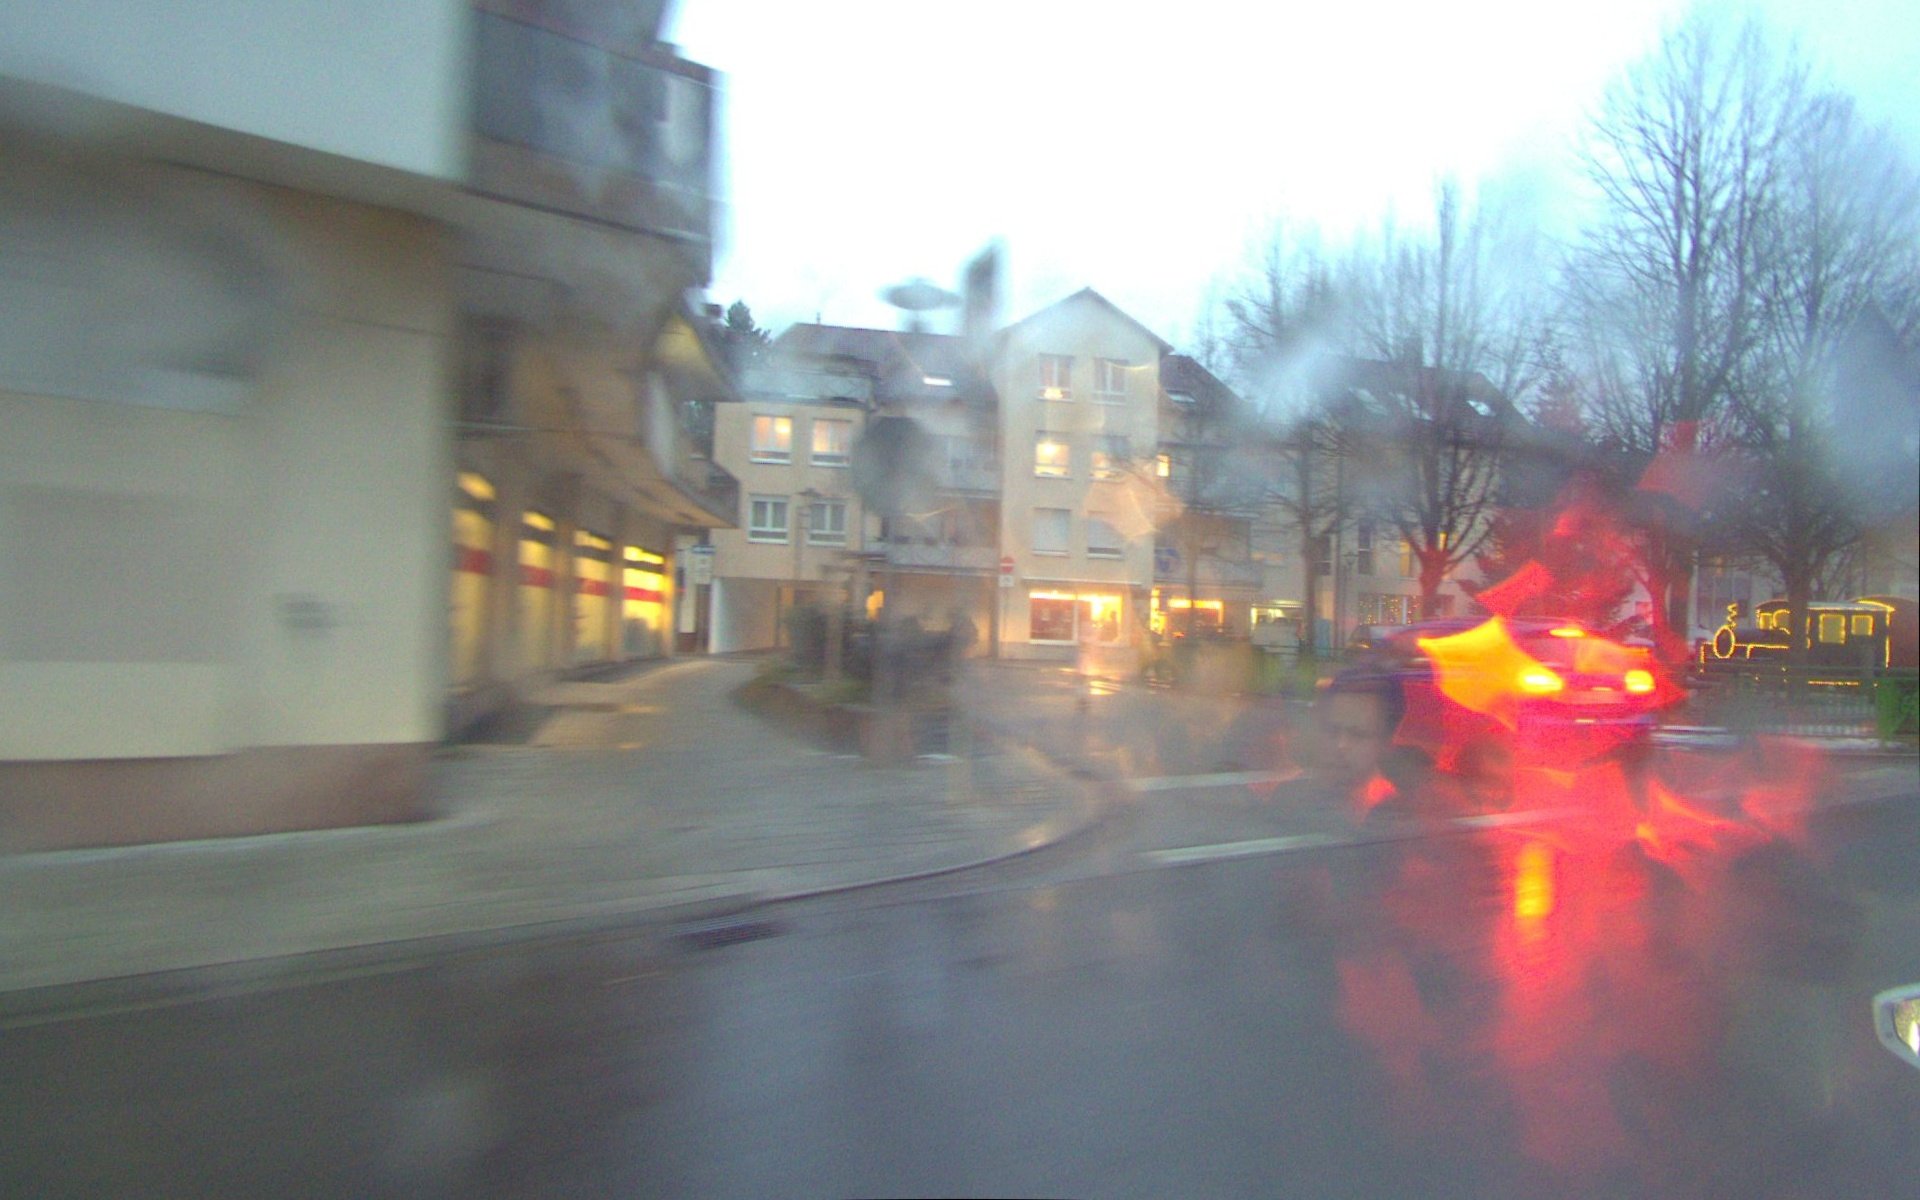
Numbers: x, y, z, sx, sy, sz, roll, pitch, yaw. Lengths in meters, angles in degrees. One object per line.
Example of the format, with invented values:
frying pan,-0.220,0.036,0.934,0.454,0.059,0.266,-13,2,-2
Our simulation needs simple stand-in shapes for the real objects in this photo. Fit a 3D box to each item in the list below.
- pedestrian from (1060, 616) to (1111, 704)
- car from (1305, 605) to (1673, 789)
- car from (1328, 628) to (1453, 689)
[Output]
pedestrian,1.977,0.937,15.839,0.558,1.357,0.619,2,0,-17
car,5.128,0.848,10.234,1.476,1.527,3.301,2,0,-14
car,12.375,1.633,29.163,1.884,1.528,4.000,1,0,0
